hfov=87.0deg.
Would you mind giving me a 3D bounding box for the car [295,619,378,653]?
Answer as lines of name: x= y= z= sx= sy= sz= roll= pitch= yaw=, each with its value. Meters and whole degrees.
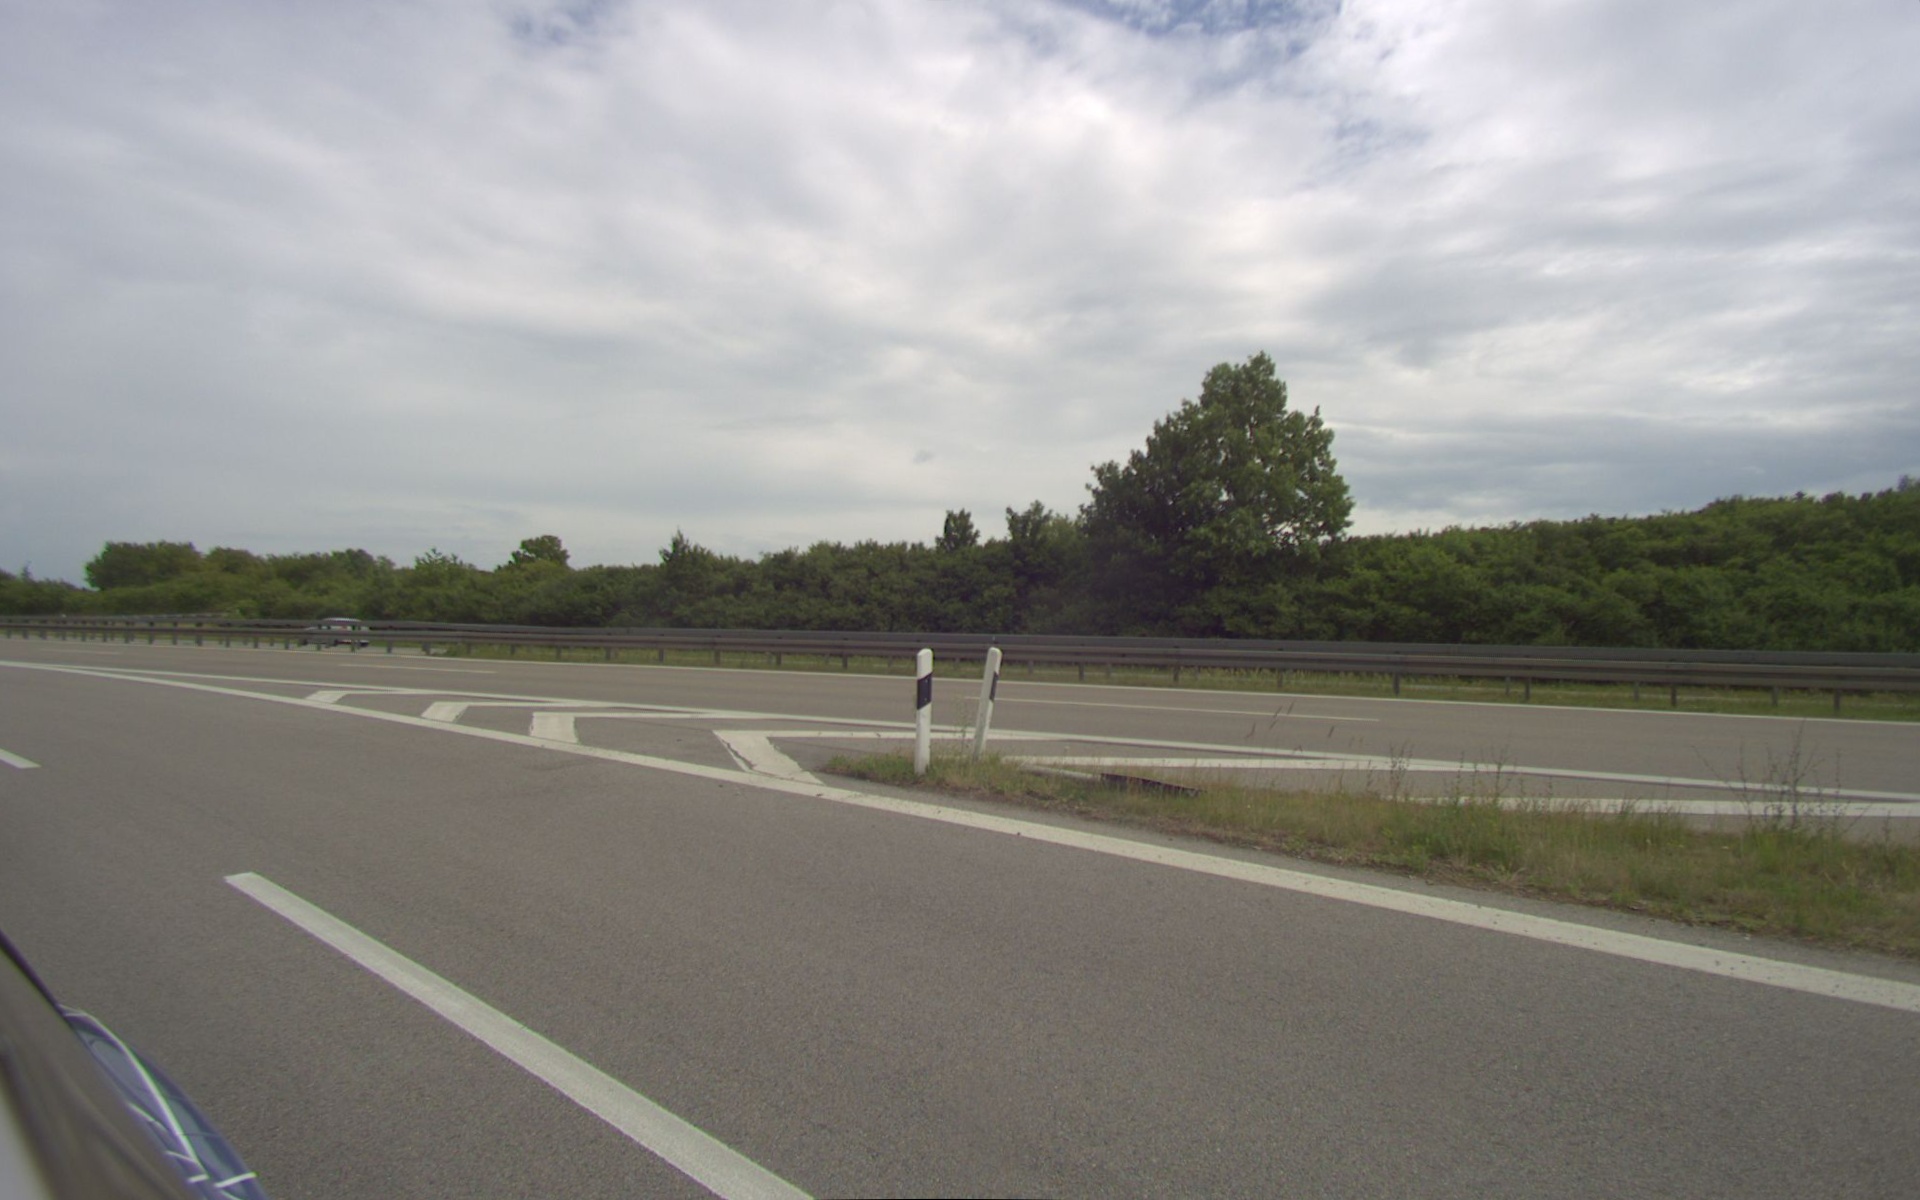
car: x=-31.213 y=1.773 z=50.658 sx=3.982 sy=1.608 sz=1.792 roll=0 pitch=-1 yaw=28
